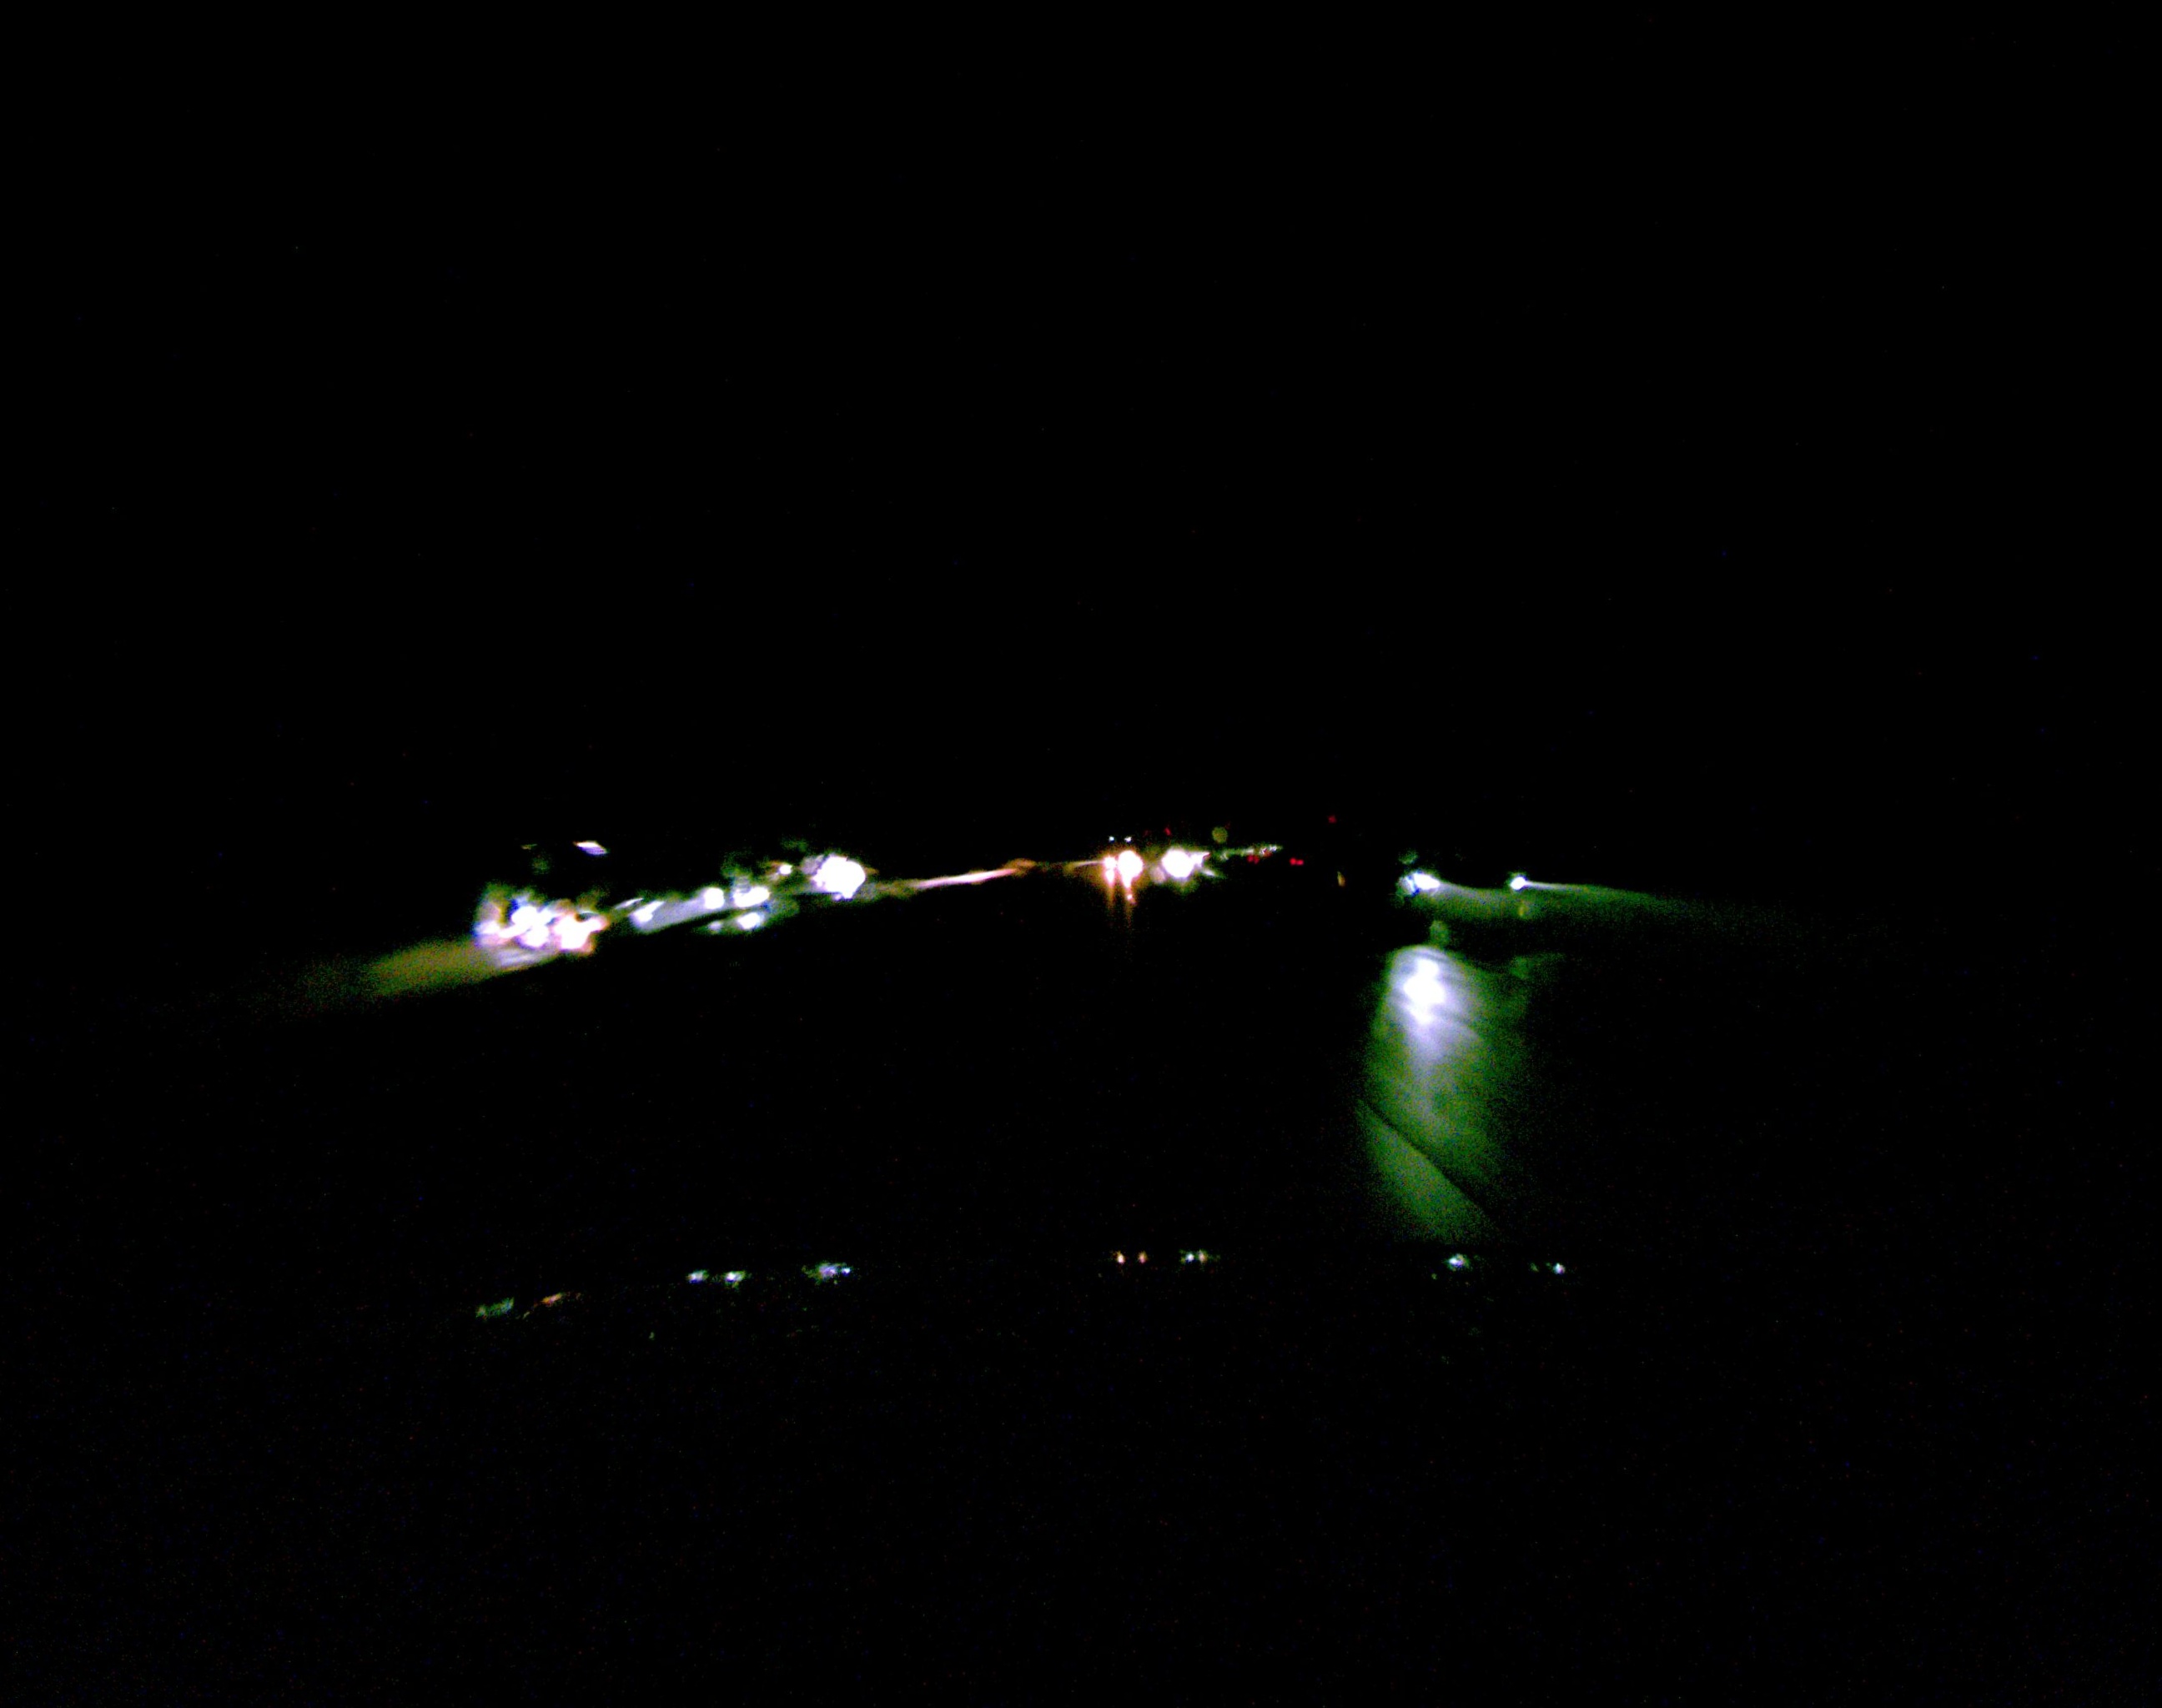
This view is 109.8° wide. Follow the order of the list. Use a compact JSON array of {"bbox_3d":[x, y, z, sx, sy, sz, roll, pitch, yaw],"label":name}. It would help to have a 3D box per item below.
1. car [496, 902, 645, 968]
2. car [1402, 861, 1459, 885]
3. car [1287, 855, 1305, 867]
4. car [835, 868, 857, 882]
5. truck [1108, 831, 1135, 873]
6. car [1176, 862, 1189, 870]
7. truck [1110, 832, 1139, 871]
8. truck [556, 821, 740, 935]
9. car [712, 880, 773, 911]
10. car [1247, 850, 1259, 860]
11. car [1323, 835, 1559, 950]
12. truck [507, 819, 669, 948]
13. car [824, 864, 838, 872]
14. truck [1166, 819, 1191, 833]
[{"bbox_3d":[-12.609,1.944,19.081,1.713,1.286,3.988,0,-1,-12],"label":"car"},{"bbox_3d":[20.881,1.087,45.566,1.666,1.229,3.760,1,2,1],"label":"car"},{"bbox_3d":[30.395,1.019,107.484,1.775,1.622,4.001,1,0,5],"label":"car"},{"bbox_3d":[-22.231,1.943,72.028,1.713,1.286,3.987,0,-1,-12],"label":"car"},{"bbox_3d":[4.410,-0.278,81.387,2.502,4.224,5.983,1,2,7],"label":"truck"},{"bbox_3d":[15.189,1.795,114.203,1.711,1.286,3.993,0,-1,5],"label":"car"},{"bbox_3d":[5.204,-0.439,88.279,2.502,4.224,13.646,1,2,6],"label":"truck"},{"bbox_3d":[-18.984,0.700,34.804,2.768,4.199,13.810,0,2,-10],"label":"truck"},{"bbox_3d":[-15.429,1.869,34.818,1.713,1.286,3.988,0,-1,-12],"label":"car"},{"bbox_3d":[32.680,0.189,144.326,1.775,1.623,4.000,1,2,5],"label":"car"},{"bbox_3d":[6.850,0.581,15.372,2.142,1.874,5.553,1,2,0],"label":"car"},{"bbox_3d":[-17.773,0.895,27.962,2.768,4.199,6.187,0,2,-10],"label":"truck"},{"bbox_3d":[-41.150,2.377,124.922,1.713,1.286,3.987,0,-1,-12],"label":"car"},{"bbox_3d":[26.584,-7.611,207.753,2.419,3.759,11.212,0,2,-17],"label":"truck"}]
